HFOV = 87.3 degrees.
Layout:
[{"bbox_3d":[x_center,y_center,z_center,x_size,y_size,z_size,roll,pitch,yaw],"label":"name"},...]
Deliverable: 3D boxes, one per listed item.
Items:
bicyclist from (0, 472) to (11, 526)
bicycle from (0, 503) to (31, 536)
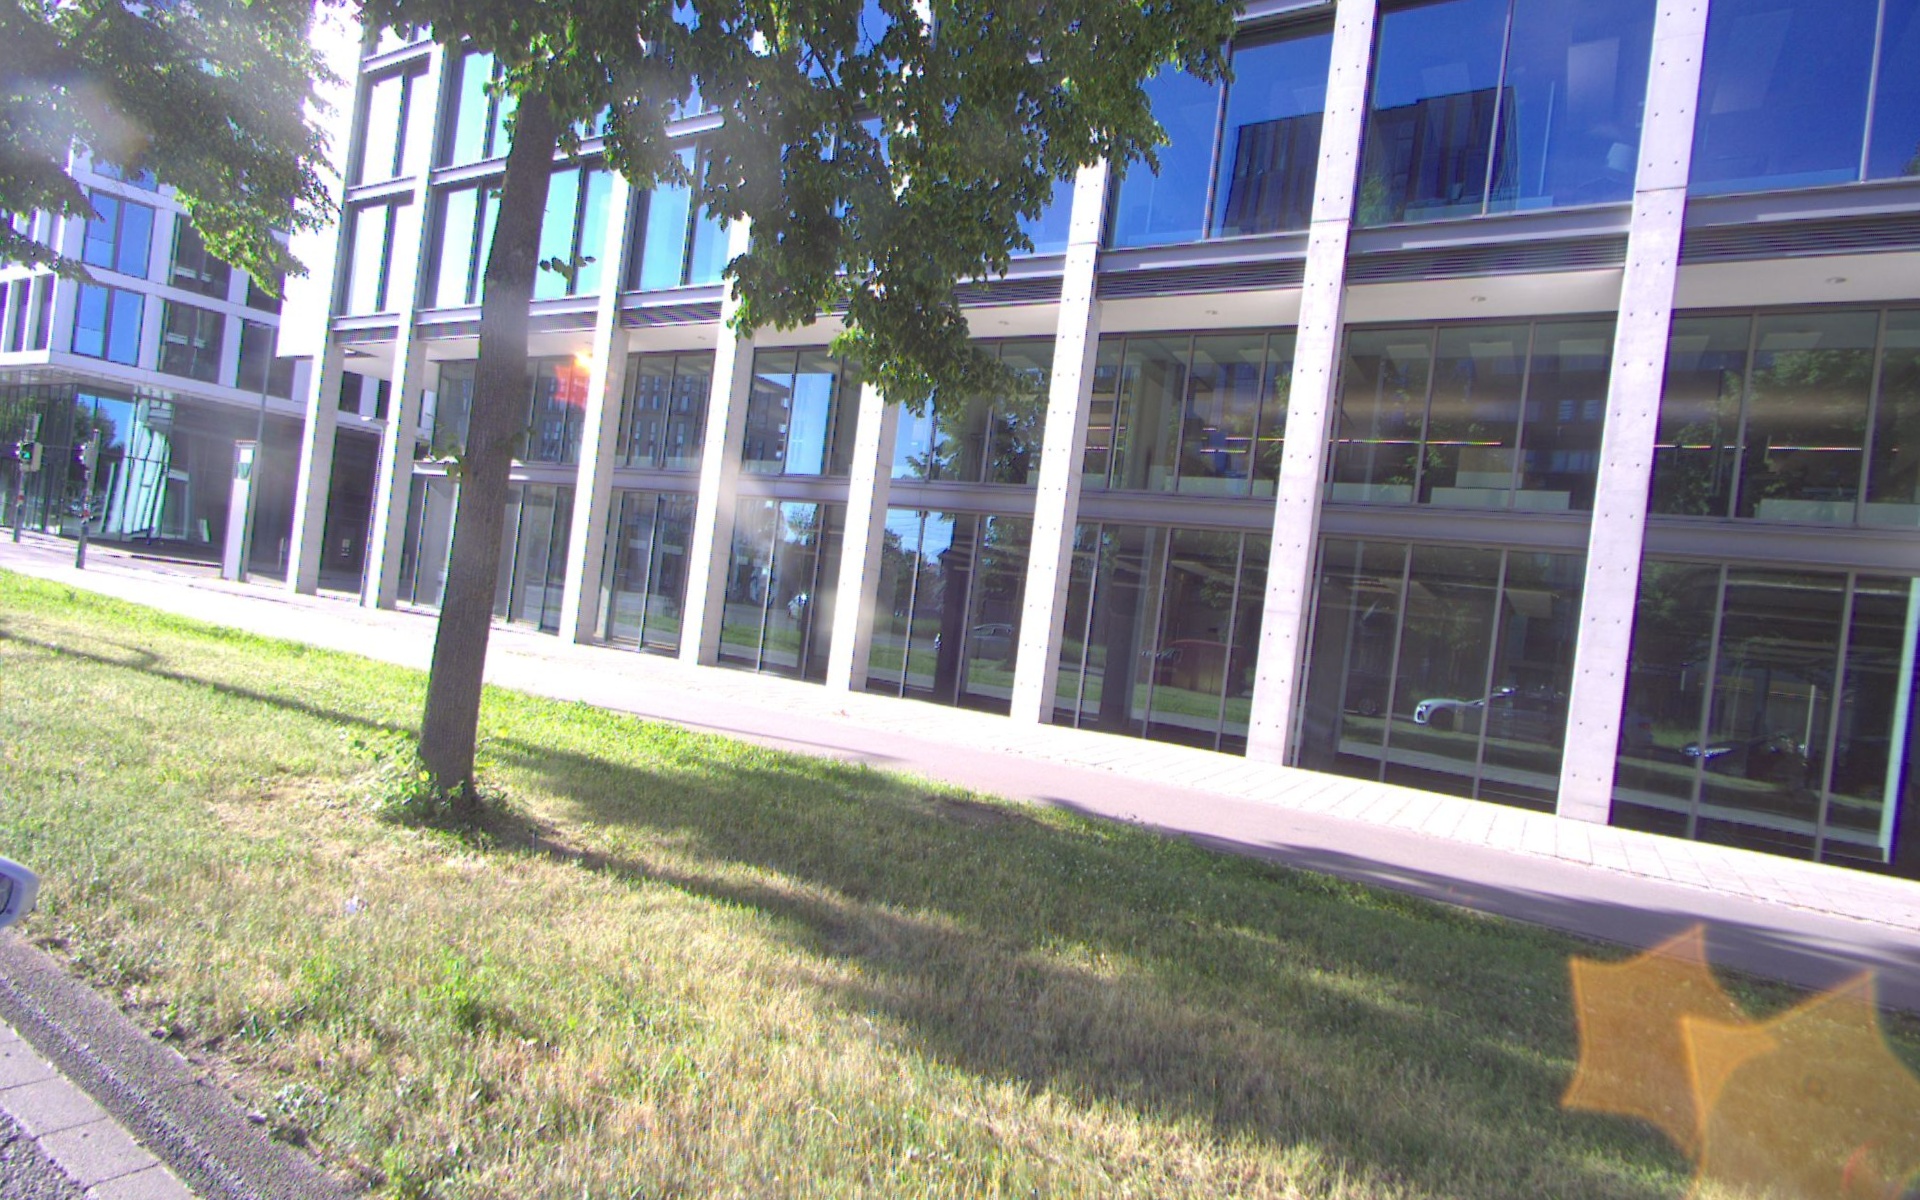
[{"bbox_3d":[-39.397,-4.163,40.721,0.927,2.118,0.817,7,0,-8],"label":"bicyclist"},{"bbox_3d":[-39.590,-3.417,40.708,2.901,1.204,0.817,8,0,-8],"label":"bicycle"}]
